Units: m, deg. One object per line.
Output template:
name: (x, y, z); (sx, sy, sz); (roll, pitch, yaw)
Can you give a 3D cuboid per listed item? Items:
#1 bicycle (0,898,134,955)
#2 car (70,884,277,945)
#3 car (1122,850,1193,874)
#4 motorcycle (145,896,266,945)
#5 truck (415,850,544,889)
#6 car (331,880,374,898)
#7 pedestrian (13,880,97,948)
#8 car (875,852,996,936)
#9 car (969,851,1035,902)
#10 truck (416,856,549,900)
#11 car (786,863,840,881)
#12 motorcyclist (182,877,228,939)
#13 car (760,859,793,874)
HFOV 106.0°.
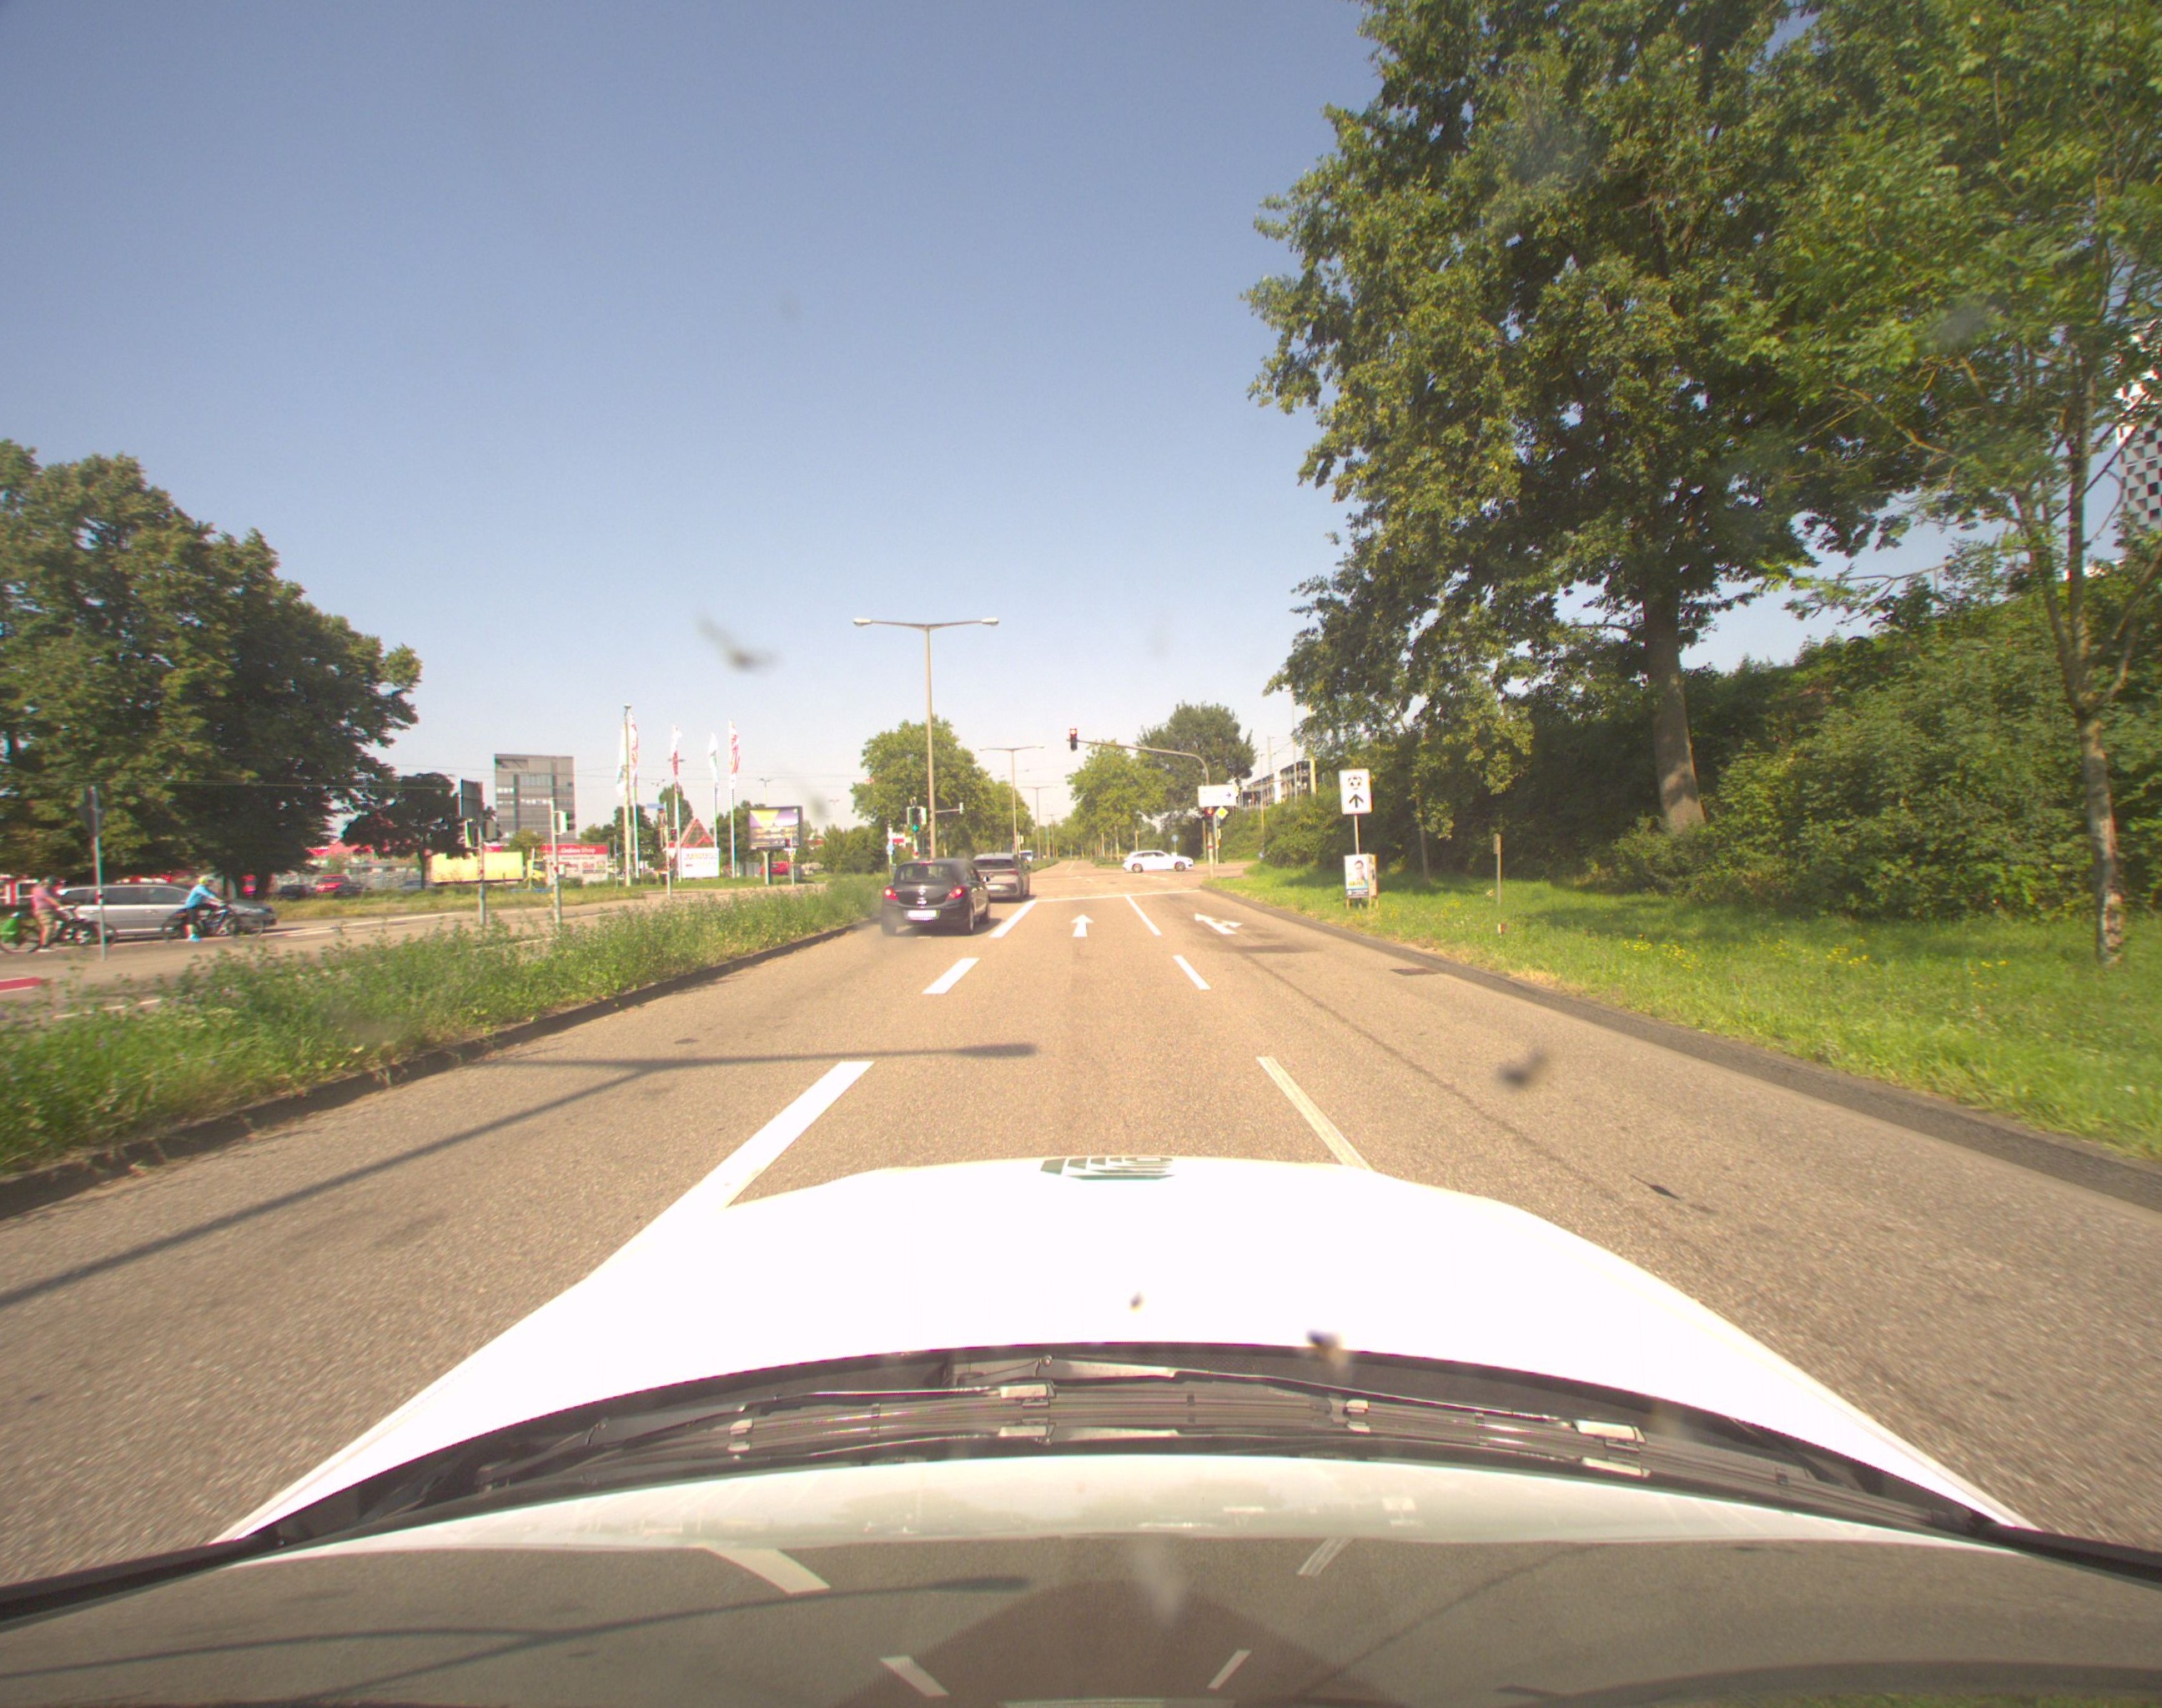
bicycle: (-25.341, 1.767, 20.116); (2.371, 1.235, 0.864); (-1, 0, -36)
car: (-25.852, 1.681, 23.381); (3.719, 1.443, 1.451); (-1, 0, -36)
car: (5.102, 0.510, 54.293); (4.581, 1.486, 1.702); (-1, 0, 9)
motorcycle: (-23.231, 1.749, 21.668); (2.085, 1.136, 0.670); (-2, -1, -35)
truck: (-53.848, 1.328, 73.256); (9.054, 2.957, 3.476); (-3, 0, -36)
car: (-50.494, 2.400, 56.517); (1.616, 1.135, 3.382); (-1, 0, -32)
pedestrian: (-25.320, 1.446, 20.126); (1.063, 1.575, 0.859); (-1, 0, -36)
car: (-2.832, 0.719, 16.670); (1.686, 1.486, 4.000); (-1, 0, 0)
car: (-2.459, 0.657, 26.246); (1.686, 1.486, 4.000); (-1, 0, 0)
truck: (-34.351, 1.353, 46.871); (5.966, 2.329, 2.104); (-1, 0, -3)
car: (-19.491, 1.307, 59.290); (3.355, 1.137, 1.497); (-2, 0, 8)
motorcyclist: (-23.275, 1.417, 21.647); (0.687, 1.572, 0.676); (-1, -1, -35)
car: (-46.150, 1.891, 123.530); (4.306, 2.013, 1.979); (-1, 0, -33)
